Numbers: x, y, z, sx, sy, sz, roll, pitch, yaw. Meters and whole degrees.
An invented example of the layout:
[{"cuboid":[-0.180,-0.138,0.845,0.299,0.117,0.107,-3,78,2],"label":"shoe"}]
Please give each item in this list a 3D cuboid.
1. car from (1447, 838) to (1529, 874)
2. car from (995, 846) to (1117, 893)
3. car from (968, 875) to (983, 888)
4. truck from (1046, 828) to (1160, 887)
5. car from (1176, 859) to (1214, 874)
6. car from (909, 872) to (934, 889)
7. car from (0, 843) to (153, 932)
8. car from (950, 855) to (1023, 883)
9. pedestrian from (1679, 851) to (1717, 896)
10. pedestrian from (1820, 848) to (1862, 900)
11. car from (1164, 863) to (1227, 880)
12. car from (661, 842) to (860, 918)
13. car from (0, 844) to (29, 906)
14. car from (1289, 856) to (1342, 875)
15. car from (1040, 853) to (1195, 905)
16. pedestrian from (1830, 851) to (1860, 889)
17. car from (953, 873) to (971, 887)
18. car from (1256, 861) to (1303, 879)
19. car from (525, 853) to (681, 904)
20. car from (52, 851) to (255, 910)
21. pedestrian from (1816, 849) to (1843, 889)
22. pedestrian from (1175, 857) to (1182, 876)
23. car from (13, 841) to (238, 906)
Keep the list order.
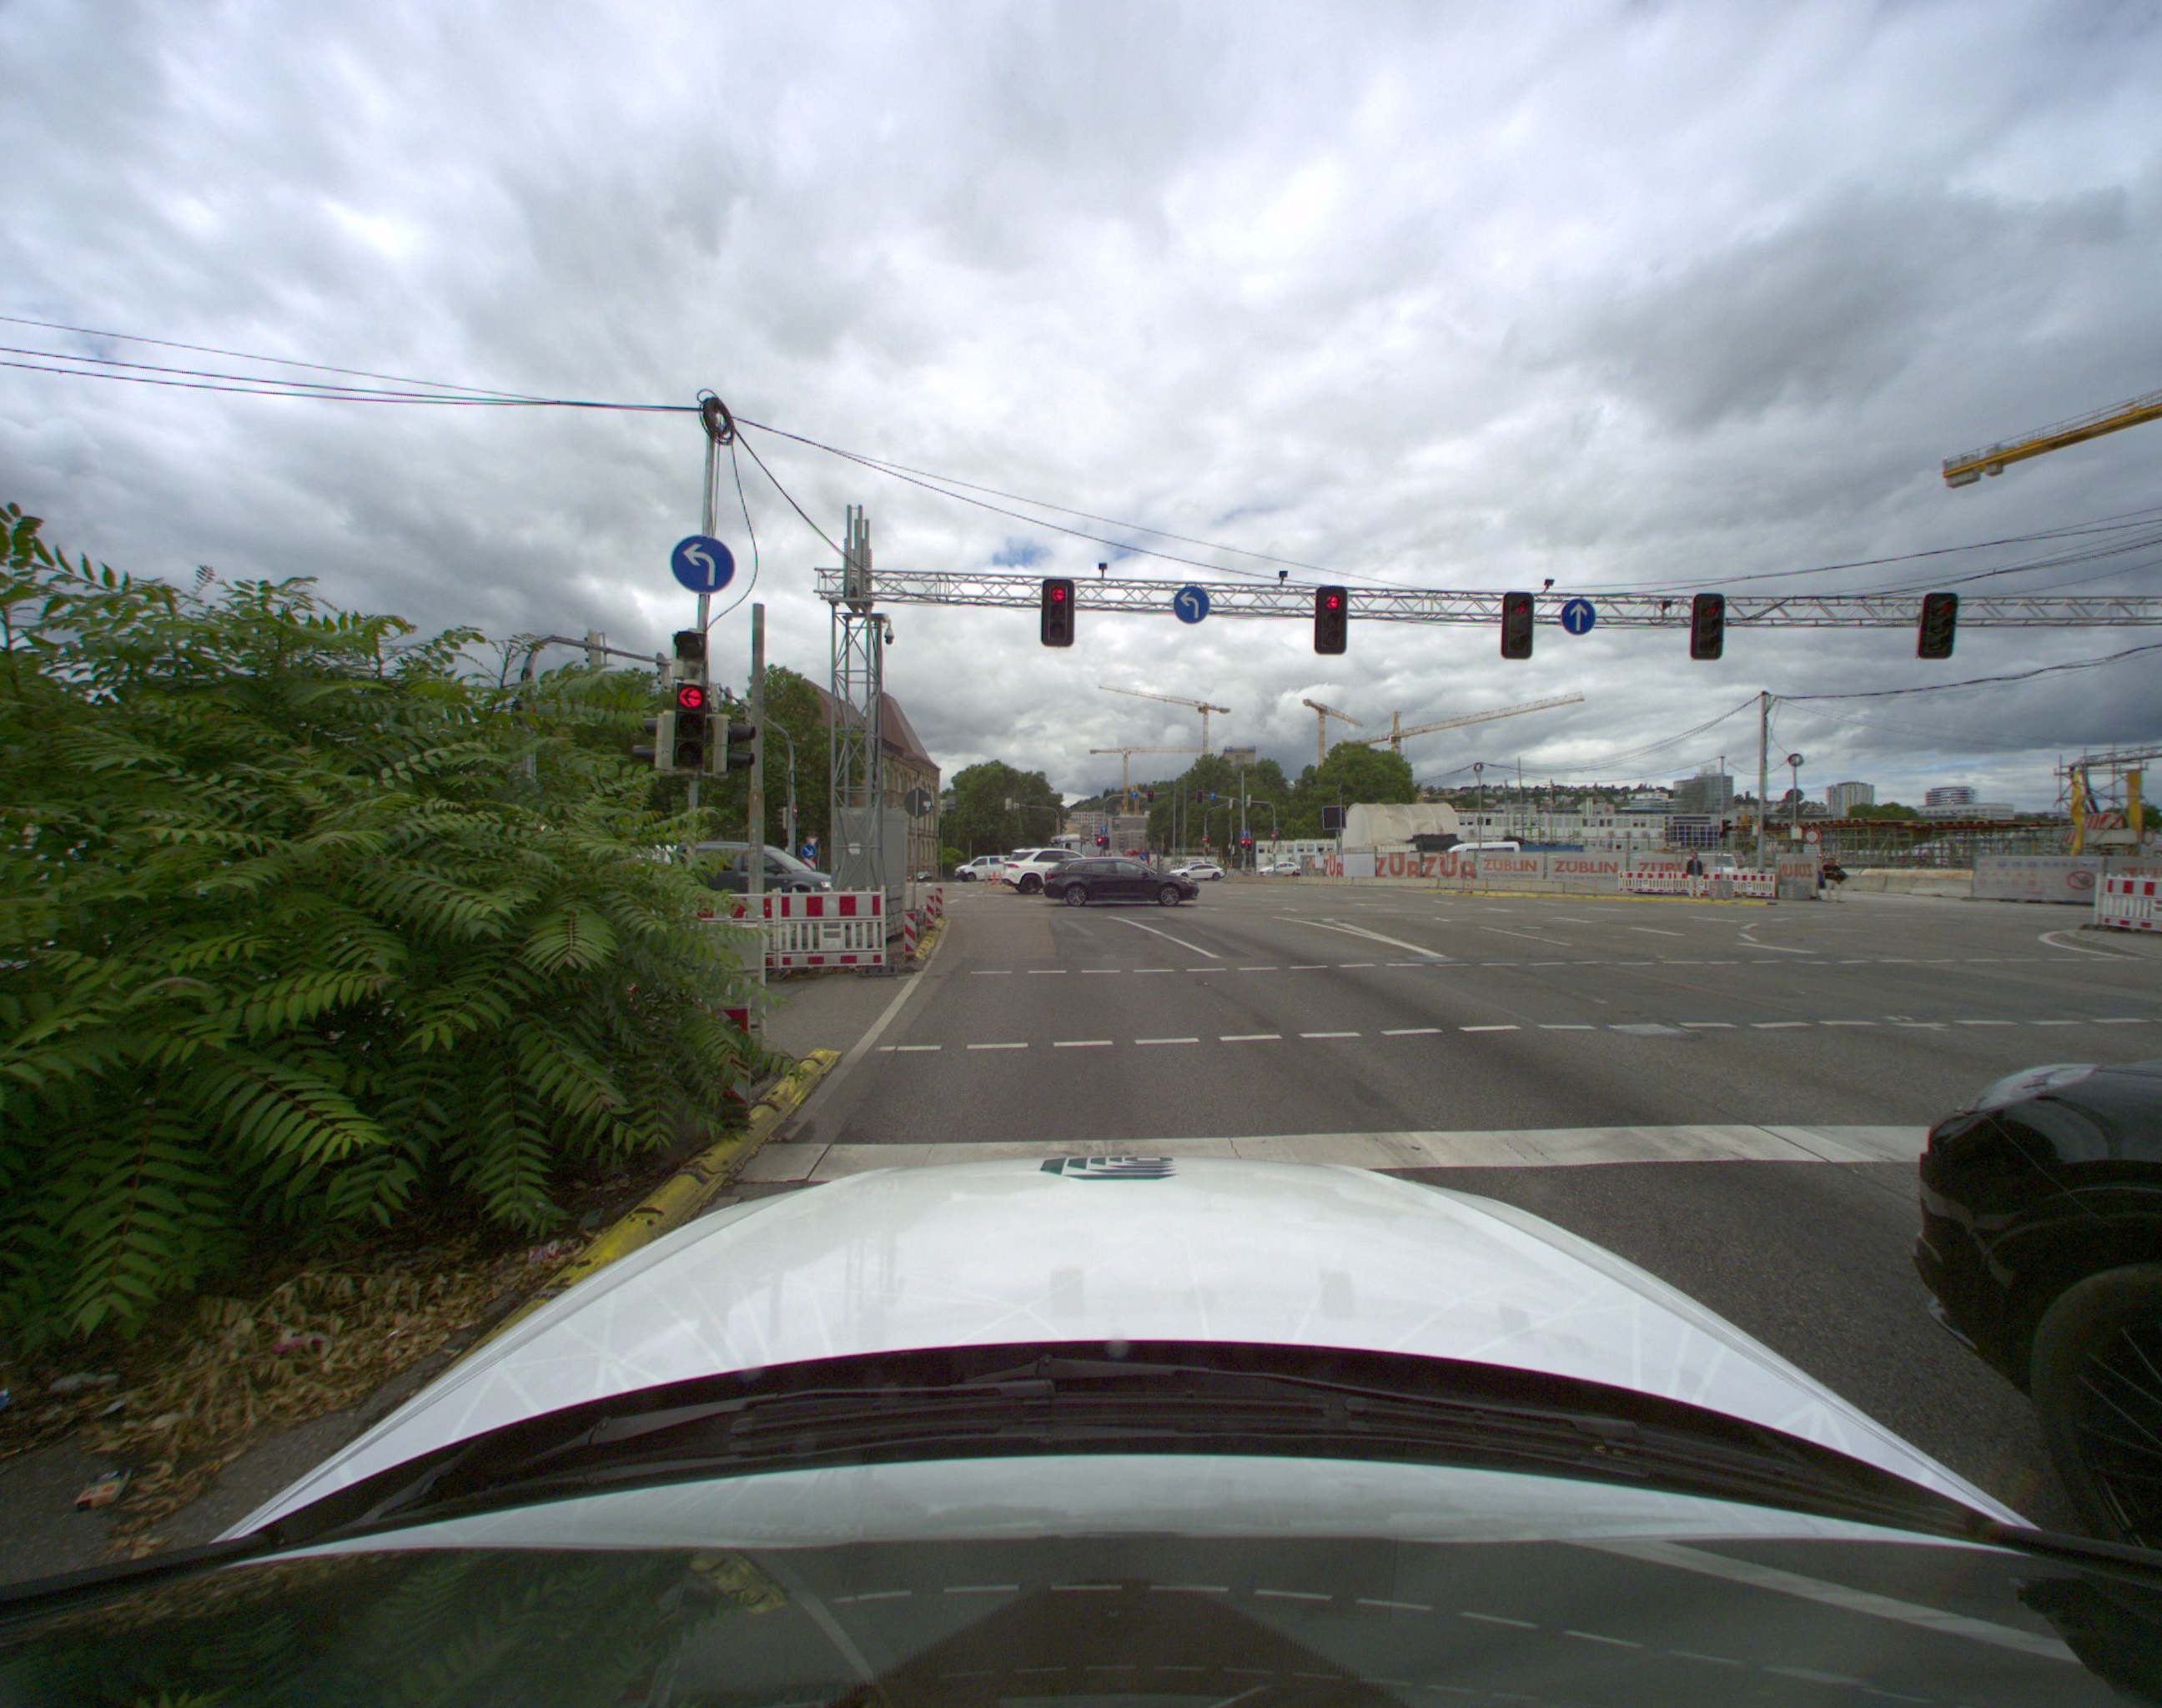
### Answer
[{"cuboid":[23.469,0.122,47.108,3.955,2.014,2.009,-1,-1,17],"label":"car"},{"cuboid":[-1.008,0.592,32.131,4.501,1.759,1.988,0,-1,-17],"label":"car"},{"cuboid":[-16.821,4.357,130.003,1.987,1.838,3.998,0,-1,-1],"label":"car"},{"cuboid":[1.986,0.273,72.039,9.756,4.961,3.090,0,-1,-23],"label":"truck"},{"cuboid":[13.023,1.382,93.093,3.948,1.651,1.878,-1,-1,36],"label":"car"},{"cuboid":[-17.531,2.916,89.912,1.987,1.838,3.998,0,-1,-1],"label":"car"},{"cuboid":[-21.260,0.637,16.623,4.317,1.626,1.897,-1,-1,25],"label":"car"},{"cuboid":[-7.153,1.118,61.811,5.149,2.014,2.063,0,-1,-21],"label":"car"},{"cuboid":[25.759,0.826,34.027,1.035,1.848,0.794,-1,-1,17],"label":"pedestrian"},{"cuboid":[29.606,0.766,31.719,1.039,2.014,1.034,0,-1,-38],"label":"pedestrian"},{"cuboid":[10.149,1.553,72.074,5.153,1.419,2.221,0,-1,-22],"label":"car"},{"cuboid":[-8.070,0.647,20.827,4.254,1.805,2.000,0,-1,1],"label":"car"},{"cuboid":[-28.967,0.538,20.021,3.841,1.542,1.713,0,-1,-1],"label":"car"},{"cuboid":[22.037,1.088,76.636,4.602,1.724,1.895,0,-1,-22],"label":"car"},{"cuboid":[1.067,0.732,24.485,4.476,1.466,2.000,0,-1,0],"label":"car"},{"cuboid":[39.181,0.836,41.776,0.677,1.916,0.865,0,-1,-4],"label":"pedestrian"},{"cuboid":[-16.864,3.672,115.726,1.987,1.838,3.998,0,-1,-1],"label":"car"},{"cuboid":[19.338,1.557,79.339,4.164,1.724,1.895,0,-1,-22],"label":"car"},{"cuboid":[-17.828,0.893,30.530,4.693,1.833,1.869,0,-1,-2],"label":"car"},{"cuboid":[-28.767,0.803,25.361,3.975,1.740,1.909,1,-1,-1],"label":"car"},{"cuboid":[38.289,0.745,41.665,0.673,2.014,0.869,-1,-1,14],"label":"pedestrian"},{"cuboid":[9.850,1.262,82.461,0.583,1.840,0.604,0,-1,-2],"label":"pedestrian"},{"cuboid":[-27.367,0.557,23.450,4.063,1.740,1.909,1,-1,-1],"label":"car"}]
